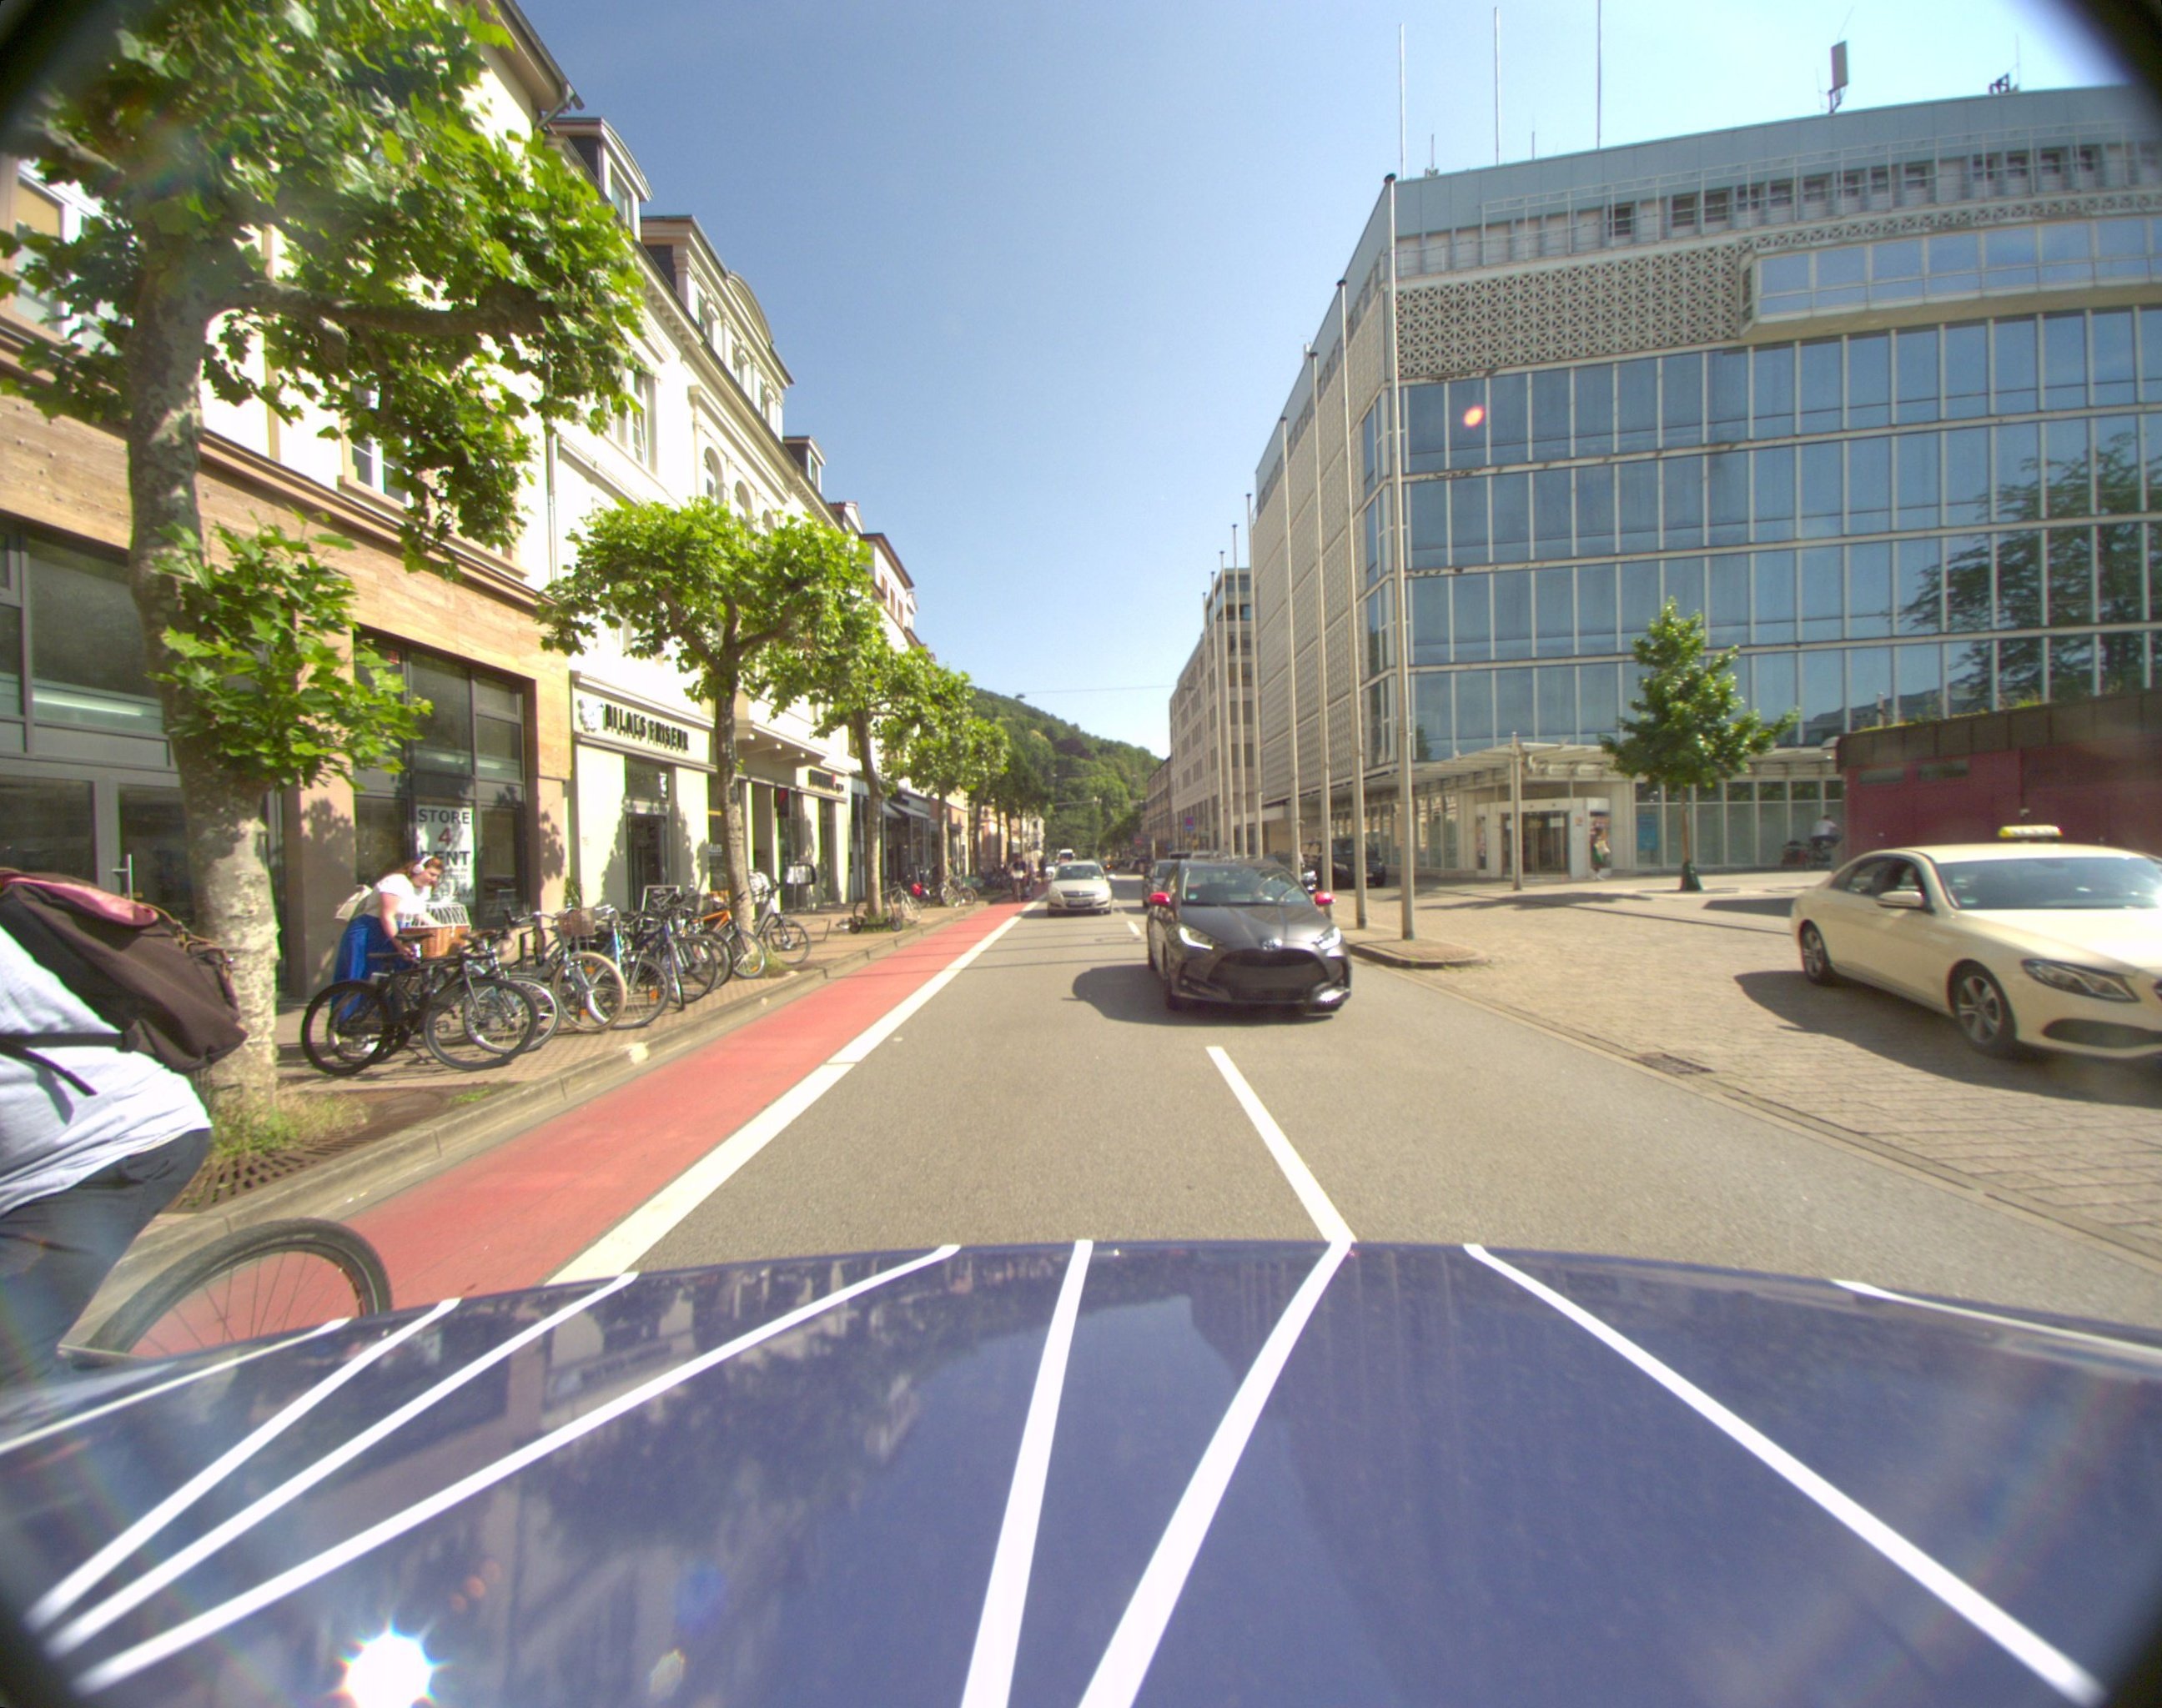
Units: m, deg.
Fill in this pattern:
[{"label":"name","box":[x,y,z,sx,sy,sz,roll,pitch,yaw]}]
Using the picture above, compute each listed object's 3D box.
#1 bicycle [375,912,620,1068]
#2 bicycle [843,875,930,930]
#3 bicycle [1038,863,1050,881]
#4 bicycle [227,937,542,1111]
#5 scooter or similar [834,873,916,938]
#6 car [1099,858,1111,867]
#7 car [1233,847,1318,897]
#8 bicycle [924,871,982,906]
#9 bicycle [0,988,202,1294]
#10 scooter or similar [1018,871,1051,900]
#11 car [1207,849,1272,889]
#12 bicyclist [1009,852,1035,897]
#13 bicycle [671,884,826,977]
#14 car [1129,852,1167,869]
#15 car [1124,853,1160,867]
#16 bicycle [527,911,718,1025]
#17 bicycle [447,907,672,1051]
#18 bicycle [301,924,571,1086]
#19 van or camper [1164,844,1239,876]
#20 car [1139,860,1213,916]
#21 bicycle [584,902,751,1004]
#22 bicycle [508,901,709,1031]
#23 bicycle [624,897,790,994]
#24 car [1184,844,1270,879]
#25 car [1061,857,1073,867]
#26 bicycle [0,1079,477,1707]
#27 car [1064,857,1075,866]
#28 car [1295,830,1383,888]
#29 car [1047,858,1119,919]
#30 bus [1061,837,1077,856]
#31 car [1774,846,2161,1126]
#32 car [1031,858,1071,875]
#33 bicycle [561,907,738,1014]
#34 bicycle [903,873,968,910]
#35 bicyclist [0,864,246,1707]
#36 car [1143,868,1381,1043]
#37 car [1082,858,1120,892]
[{"label":"bicycle","box":[-4.970,1.146,6.515,1.732,1.210,0.477,-2,1,3]},{"label":"bicycle","box":[-4.687,1.162,18.356,1.844,1.179,0.670,-3,1,6]},{"label":"bicycle","box":[-2.417,1.190,49.823,0.607,1.120,1.860,0,1,2]},{"label":"bicycle","box":[-5.006,1.208,5.520,1.732,1.088,0.607,-2,1,3]},{"label":"scooter or similar","box":[-4.372,1.090,16.164,1.477,1.267,0.670,-3,1,12]},{"label":"car","box":[3.724,1.317,116.799,1.734,1.389,4.106,-2,0,1]},{"label":"car","box":[6.811,0.593,27.159,1.765,1.590,4.709,-2,0,0]},{"label":"bicycle","box":[-4.395,1.187,26.117,1.843,1.120,0.498,-3,1,12]},{"label":"bicycle","box":[-4.998,1.204,3.307,1.653,1.088,0.607,-2,1,3]},{"label":"scooter or similar","box":[-1.830,1.235,30.086,0.784,1.054,1.127,-3,0,24]},{"label":"car","box":[6.765,0.620,32.958,1.803,1.514,4.739,-3,0,1]},{"label":"bicyclist","box":[-2.209,0.752,28.489,0.731,1.664,0.775,0,1,17]},{"label":"bicycle","box":[-4.895,1.114,11.258,1.936,1.241,0.736,-2,1,3]},{"label":"car","box":[7.893,0.780,89.309,4.166,1.627,2.103,-5,0,9]},{"label":"car","box":[8.300,0.797,103.311,4.492,1.424,1.865,-7,0,20]},{"label":"bicycle","box":[-4.855,1.199,8.091,1.732,1.102,0.477,-2,1,3]},{"label":"bicycle","box":[-4.778,1.134,7.003,1.732,1.210,0.477,-2,1,3]},{"label":"bicycle","box":[-5.085,1.179,6.031,1.732,1.155,0.477,-2,1,3]},{"label":"van or camper","box":[8.278,0.433,52.600,4.648,2.001,2.004,-4,-1,40]},{"label":"car","box":[2.656,0.924,22.079,1.733,1.389,4.106,-1,0,2]},{"label":"bicycle","box":[-4.837,1.152,8.924,1.732,1.102,0.402,-2,1,3]},{"label":"bicycle","box":[-4.778,1.122,7.728,1.732,1.210,0.477,-2,1,3]},{"label":"bicycle","box":[-4.776,1.158,9.776,1.732,1.102,0.736,-2,1,3]},{"label":"car","box":[8.527,0.435,44.441,4.434,1.898,2.014,-2,0,37]},{"label":"car","box":[-2.280,1.274,124.648,1.799,1.515,4.262,-5,1,-2]},{"label":"bicycle","box":[-1.962,1.183,0.987,0.700,1.120,2.081,-3,0,-3]},{"label":"car","box":[-2.046,1.337,135.375,1.868,1.478,4.414,-2,0,-2]},{"label":"car","box":[9.850,0.189,29.450,1.836,2.002,4.685,-2,0,1]},{"label":"car","box":[-0.019,0.897,21.619,1.791,1.483,4.367,-1,0,-2]},{"label":"bus","box":[-2.378,-1.371,146.234,2.924,3.515,12.497,-1,0,-1]},{"label":"car","box":[7.804,0.752,6.285,1.892,1.532,4.870,-2,0,28]},{"label":"car","box":[-2.951,1.235,75.056,1.954,1.416,4.893,-3,0,23]},{"label":"bicycle","box":[-4.816,1.181,8.510,1.732,1.102,0.402,-2,1,3]},{"label":"bicycle","box":[-4.668,1.210,24.465,1.844,1.090,0.794,-2,1,6]},{"label":"bicyclist","box":[-1.980,0.757,0.961,0.700,1.437,0.960,-3,1,-3]},{"label":"car","box":[1.723,0.912,8.596,1.868,1.469,4.108,1,-1,3]},{"label":"car","box":[0.966,1.014,39.048,1.775,1.469,4.105,-2,1,0]}]
